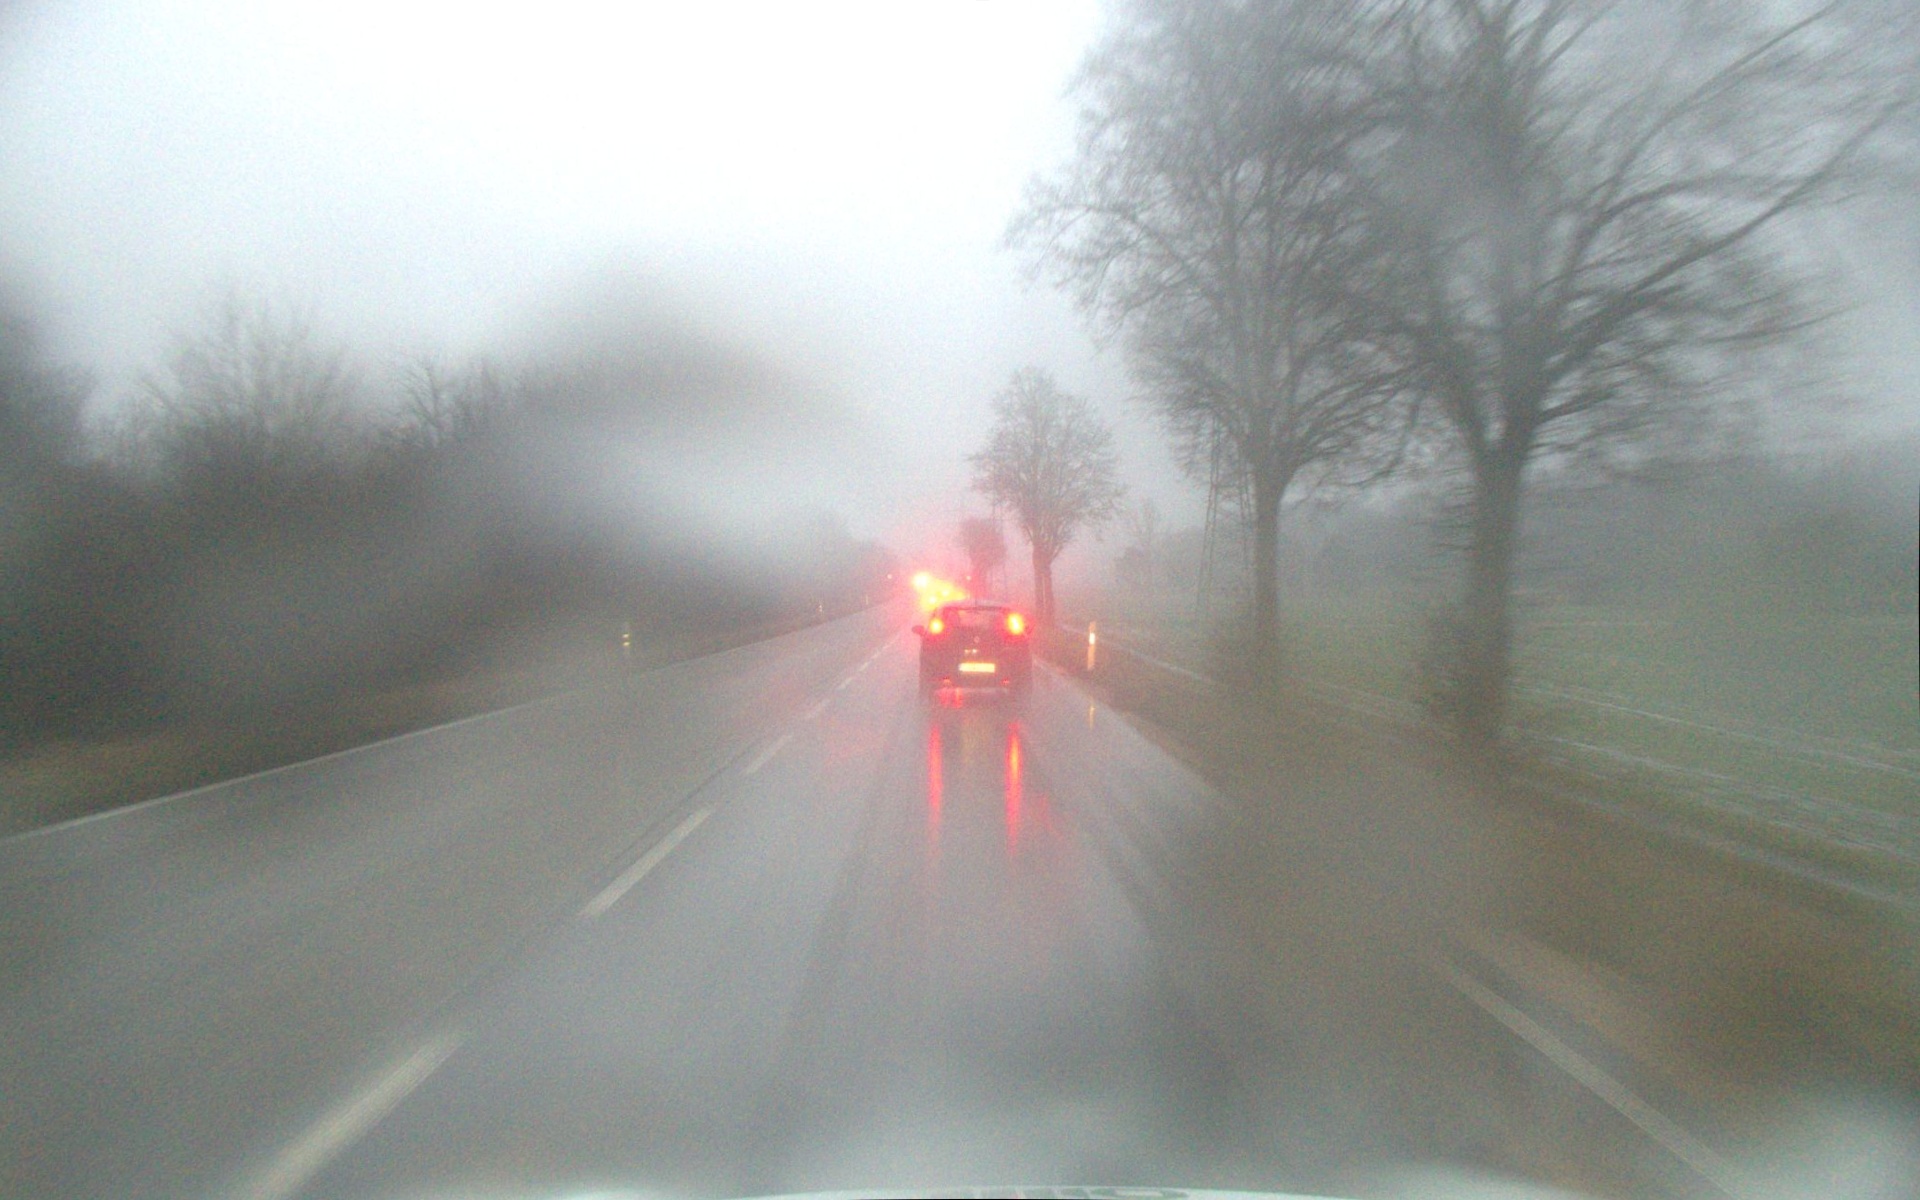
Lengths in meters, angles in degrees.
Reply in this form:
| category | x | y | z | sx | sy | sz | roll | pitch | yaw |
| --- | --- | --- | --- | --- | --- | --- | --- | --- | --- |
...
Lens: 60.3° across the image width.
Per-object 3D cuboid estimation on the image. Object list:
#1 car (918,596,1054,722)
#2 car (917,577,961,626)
| category | x | y | z | sx | sy | sz | roll | pitch | yaw |
| --- | --- | --- | --- | --- | --- | --- | --- | --- | --- |
| car | 0.360 | 0.847 | 25.844 | 1.953 | 1.782 | 4.000 | 0 | 1 | -1 |
| car | -1.033 | 0.047 | 83.207 | 1.953 | 2.047 | 4.003 | 3 | 4 | 1 |
